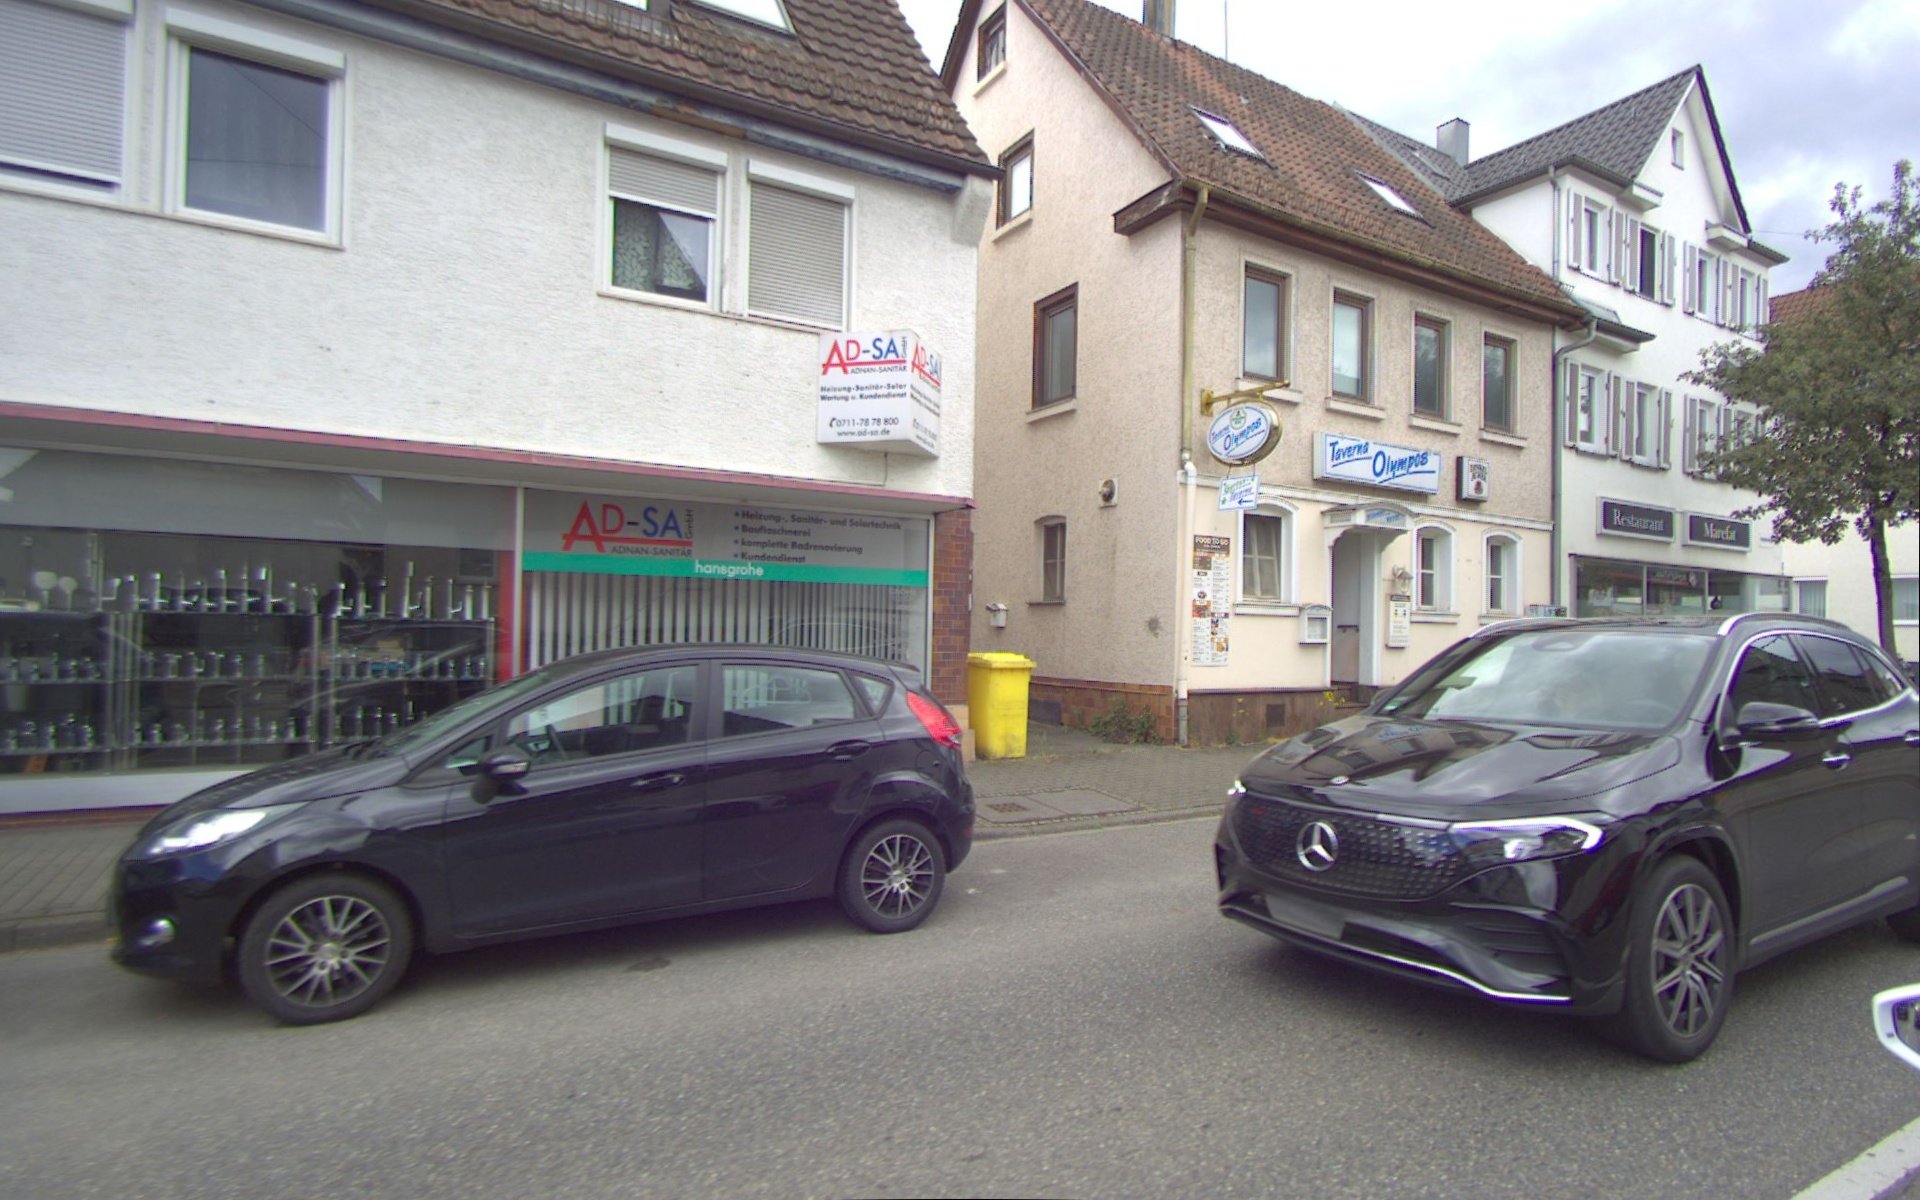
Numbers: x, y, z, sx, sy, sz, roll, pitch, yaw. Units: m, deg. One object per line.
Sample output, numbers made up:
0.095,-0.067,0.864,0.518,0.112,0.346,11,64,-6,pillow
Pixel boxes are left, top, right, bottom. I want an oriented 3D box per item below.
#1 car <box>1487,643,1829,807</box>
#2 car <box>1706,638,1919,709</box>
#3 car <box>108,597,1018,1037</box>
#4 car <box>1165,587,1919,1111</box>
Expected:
7.596,1.220,10.835,3.978,1.466,1.673,2,-3,-33,car
22.063,1.840,26.085,1.716,1.555,3.965,2,-1,-32,car
-1.699,0.850,5.150,3.767,1.527,1.575,2,-4,-30,car
3.175,0.856,4.919,4.143,1.599,1.787,2,-3,-30,car
